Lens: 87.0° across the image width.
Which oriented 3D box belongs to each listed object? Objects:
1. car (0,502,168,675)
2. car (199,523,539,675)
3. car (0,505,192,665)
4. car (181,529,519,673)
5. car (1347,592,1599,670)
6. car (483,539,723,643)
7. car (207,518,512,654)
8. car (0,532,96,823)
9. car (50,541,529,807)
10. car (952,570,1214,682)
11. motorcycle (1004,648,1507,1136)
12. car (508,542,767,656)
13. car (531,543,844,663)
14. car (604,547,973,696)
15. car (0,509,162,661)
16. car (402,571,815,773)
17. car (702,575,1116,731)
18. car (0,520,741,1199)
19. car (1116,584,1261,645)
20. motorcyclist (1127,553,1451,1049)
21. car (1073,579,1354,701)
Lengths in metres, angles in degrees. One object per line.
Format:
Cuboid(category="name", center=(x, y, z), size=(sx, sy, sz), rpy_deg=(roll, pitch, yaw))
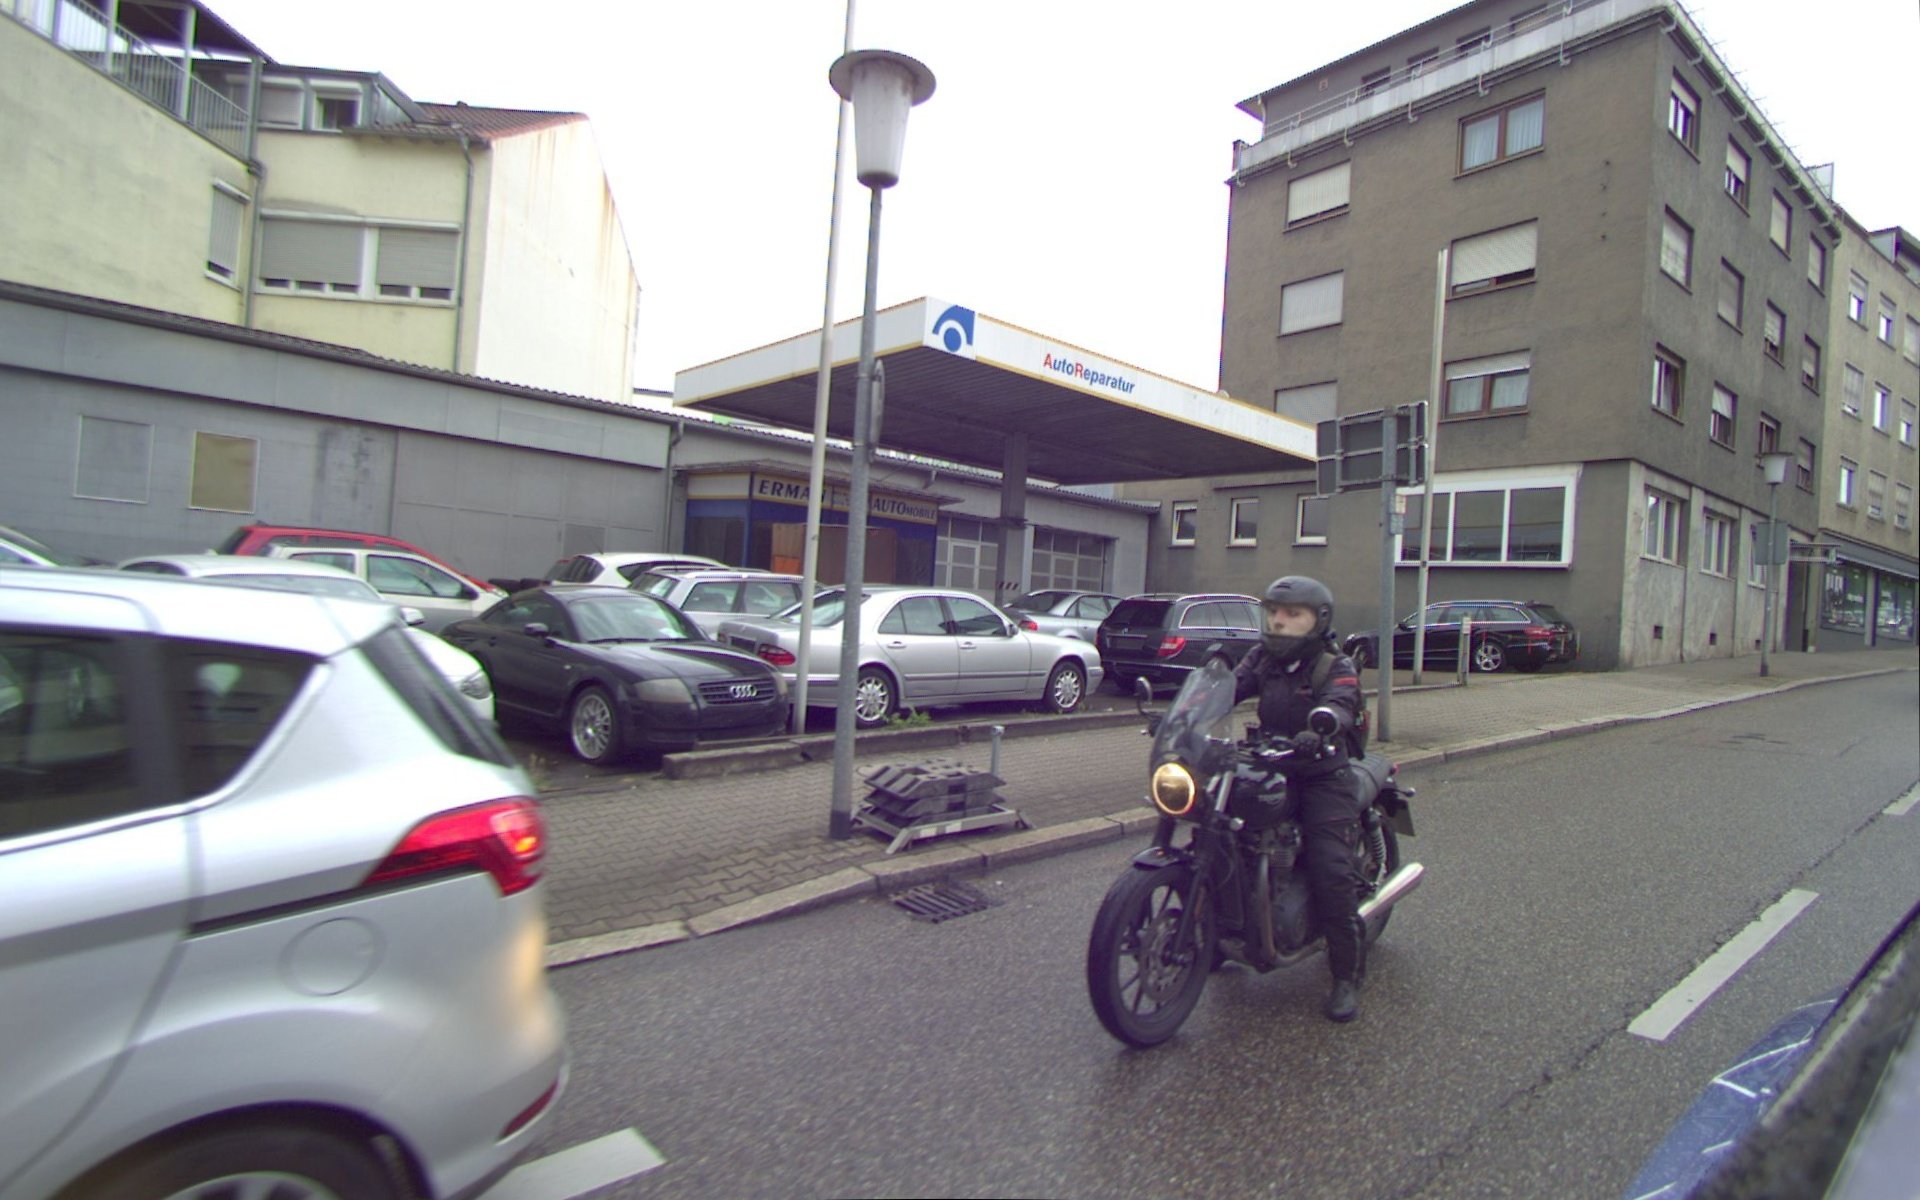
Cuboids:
Cuboid(category="car", center=(-11.610, -0.161, 11.661), size=(3.878, 1.922, 1.793), rpy_deg=(0, 1, -39))
Cuboid(category="car", center=(-7.394, -0.051, 12.766), size=(3.455, 1.619, 1.794), rpy_deg=(0, 4, -39))
Cuboid(category="car", center=(-10.175, -0.206, 10.155), size=(3.878, 1.541, 1.793), rpy_deg=(0, 4, -39))
Cuboid(category="car", center=(-8.510, -0.009, 14.264), size=(3.878, 1.752, 1.793), rpy_deg=(0, 1, -39))
Cuboid(category="car", center=(11.046, 0.612, 22.103), size=(1.962, 1.523, 4.535), rpy_deg=(1, 0, -35))
Cuboid(category="car", center=(-6.654, -0.172, 19.032), size=(3.878, 1.752, 1.793), rpy_deg=(0, 1, -39))
Cuboid(category="car", center=(-9.630, -0.215, 16.374), size=(4.031, 1.934, 1.793), rpy_deg=(0, 1, -39))
Cuboid(category="car", center=(-6.978, 0.274, 6.036), size=(3.975, 1.467, 1.777), rpy_deg=(6, 4, 34))
Cuboid(category="car", center=(-5.249, 0.364, 7.764), size=(3.974, 1.549, 1.741), rpy_deg=(2, 1, 35))
Cuboid(category="car", center=(2.159, 0.437, 17.112), size=(4.338, 1.529, 1.794), rpy_deg=(2, 4, -39))
Cuboid(category="motorcycle", center=(1.272, 0.856, 3.919), size=(0.845, 1.241, 2.335), rpy_deg=(-2, -1, 45))
Cuboid(category="car", center=(-5.521, -0.033, 17.539), size=(3.878, 1.752, 1.793), rpy_deg=(0, 1, -39))
Cuboid(category="car", center=(-4.124, 0.024, 15.720), size=(4.339, 1.620, 1.793), rpy_deg=(0, 1, -39))
Cuboid(category="car", center=(-2.133, 0.273, 13.315), size=(4.410, 1.563, 1.794), rpy_deg=(2, 4, -39))
Cuboid(category="car", center=(-13.004, -0.216, 13.335), size=(3.878, 1.934, 1.793), rpy_deg=(0, 1, -39))
Cuboid(category="car", center=(-3.339, 0.493, 9.303), size=(3.977, 1.418, 1.649), rpy_deg=(2, 1, 37))
Cuboid(category="car", center=(-0.456, 0.496, 11.675), size=(4.530, 1.433, 1.794), rpy_deg=(0, 2, -37))
Cuboid(category="car", center=(-2.637, 0.684, 1.543), size=(4.181, 1.561, 1.827), rpy_deg=(0, -2, -43))
Cuboid(category="car", center=(6.488, 0.383, 29.069), size=(1.761, 1.472, 3.755), rpy_deg=(3, 1, -37))
Cuboid(category="motorcyclist", center=(1.282, 0.656, 3.934), size=(0.947, 1.610, 0.845), rpy_deg=(1, -2, -45))
Cuboid(category="car", center=(3.868, 0.509, 15.068), size=(4.357, 1.530, 1.793), rpy_deg=(0, 1, -39))
